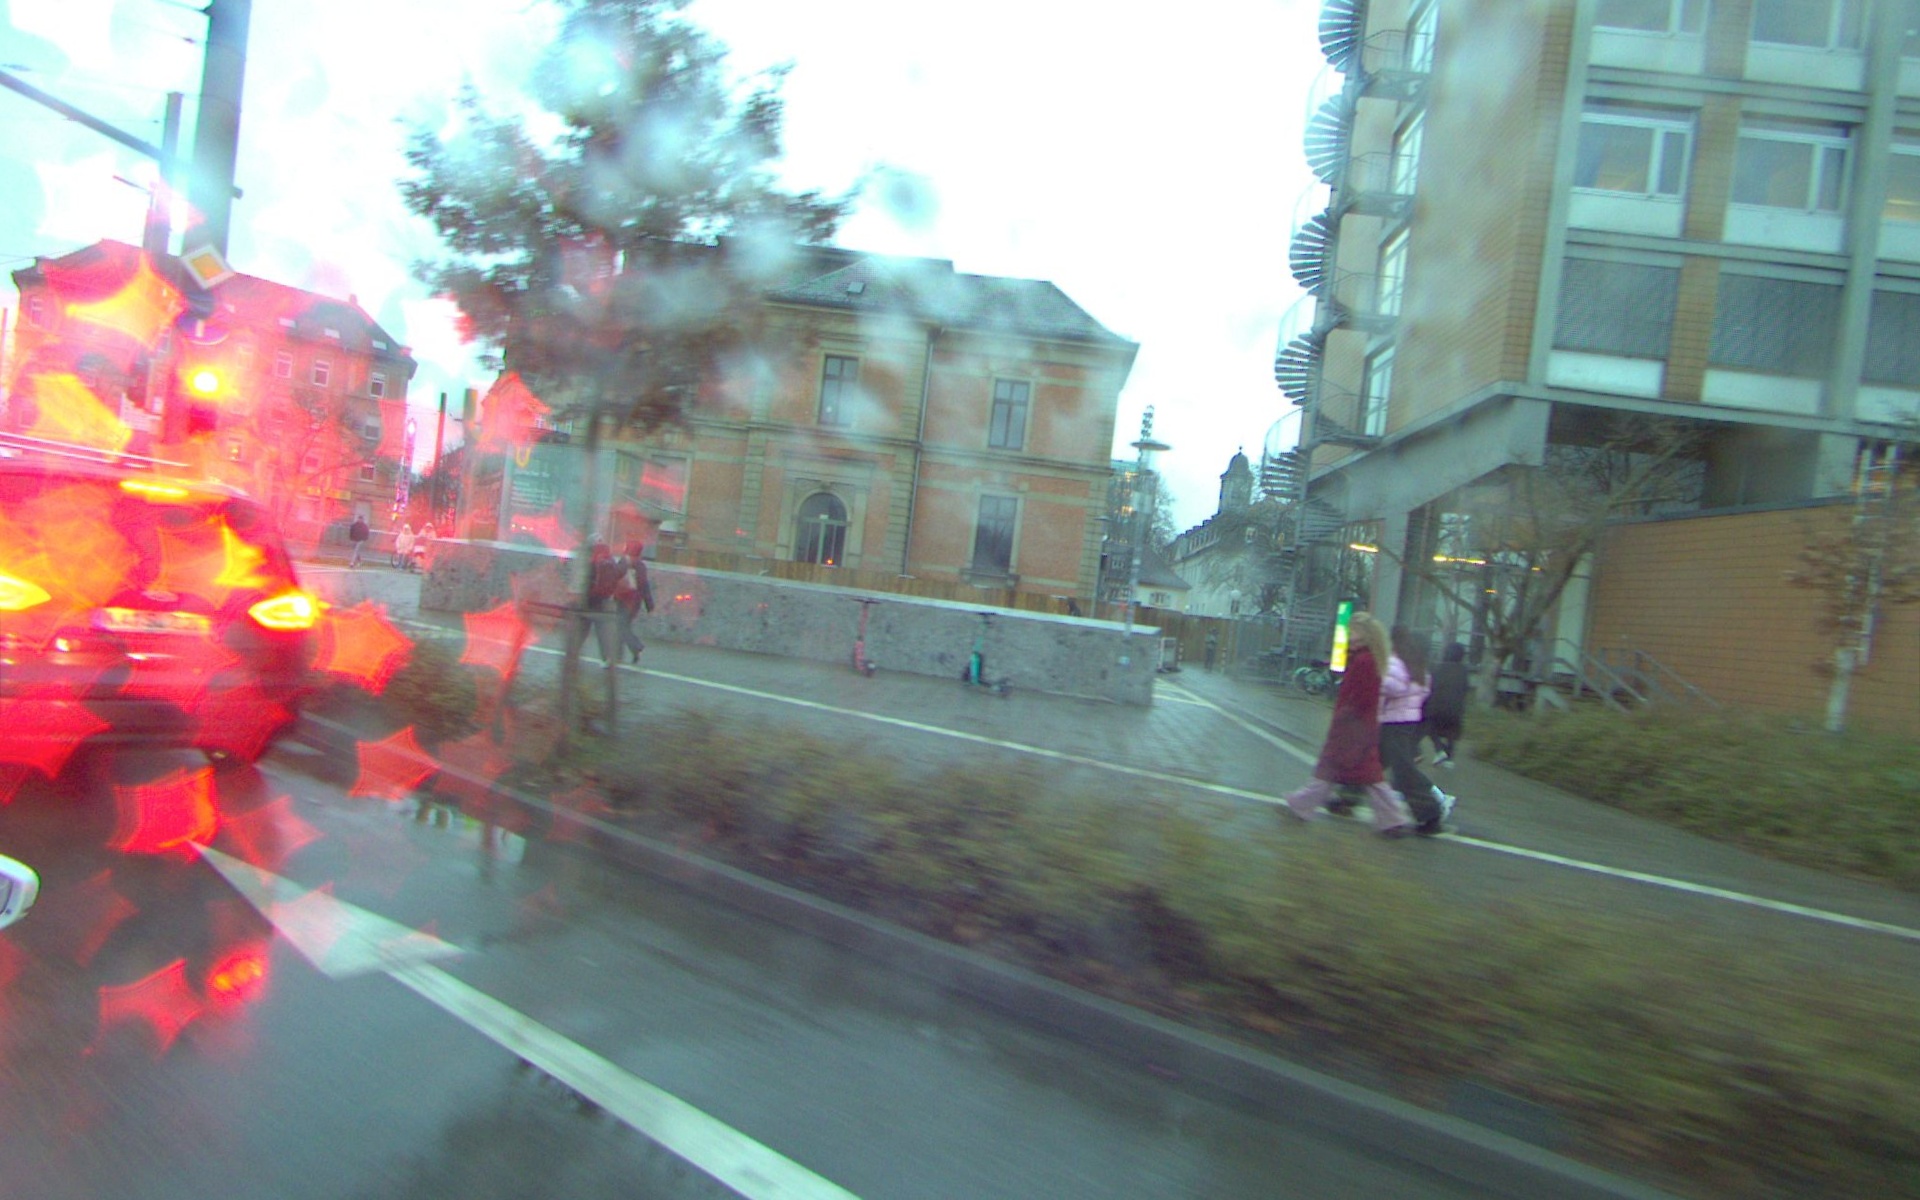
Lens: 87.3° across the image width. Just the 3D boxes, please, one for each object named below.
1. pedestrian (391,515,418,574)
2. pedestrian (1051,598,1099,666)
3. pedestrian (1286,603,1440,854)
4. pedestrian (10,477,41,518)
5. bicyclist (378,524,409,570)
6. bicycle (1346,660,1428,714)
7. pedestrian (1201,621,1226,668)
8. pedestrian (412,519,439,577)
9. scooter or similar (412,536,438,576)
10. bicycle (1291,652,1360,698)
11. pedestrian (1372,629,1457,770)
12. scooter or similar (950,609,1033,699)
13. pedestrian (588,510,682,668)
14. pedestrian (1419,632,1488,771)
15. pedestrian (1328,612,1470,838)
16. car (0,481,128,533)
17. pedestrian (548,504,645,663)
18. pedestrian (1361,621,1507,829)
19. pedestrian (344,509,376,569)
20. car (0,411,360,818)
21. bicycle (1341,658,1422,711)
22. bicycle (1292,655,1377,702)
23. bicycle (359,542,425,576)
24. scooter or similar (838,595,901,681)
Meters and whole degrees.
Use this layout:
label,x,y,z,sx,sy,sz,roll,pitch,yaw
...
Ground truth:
label,x,y,z,sx,sy,sz,roll,pitch,yaw
pedestrian,-19.711,-1.971,35.696,0.670,1.975,0.657,6,1,-28
pedestrian,3.098,0.856,27.171,0.903,1.726,0.799,6,1,-13
pedestrian,3.131,0.969,7.854,0.579,1.805,0.762,4,2,-33
pedestrian,-49.896,-5.456,53.708,0.774,2.039,0.731,7,1,3
bicyclist,-21.255,-1.983,37.769,0.773,1.595,0.688,6,1,-40
bicycle,10.791,2.198,25.446,1.761,1.116,0.401,7,1,7
pedestrian,9.501,1.651,37.675,0.651,1.678,0.789,7,1,10
pedestrian,-19.095,-1.868,35.938,0.670,1.975,0.657,6,1,-29
scooter or similar,-18.770,-1.541,35.291,0.670,1.334,0.820,6,1,-29
bicycle,10.550,2.163,29.047,1.764,1.116,0.390,7,1,-6
pedestrian,6.290,1.356,13.970,0.735,1.814,0.854,7,1,14
scooter or similar,0.471,0.815,15.583,0.509,1.229,1.372,6,1,-31
pedestrian,-4.514,-0.152,13.960,0.802,2.038,0.753,8,2,-33
pedestrian,6.811,1.385,13.899,0.549,1.814,0.584,7,1,14
pedestrian,3.584,1.004,8.232,0.662,1.710,0.606,4,4,-33
car,-41.691,-4.298,46.347,1.712,1.677,4.802,7,0,33
pedestrian,-4.825,-0.220,13.337,0.802,1.954,0.753,8,2,-33
pedestrian,4.245,1.101,9.029,0.713,1.709,0.753,6,1,-34
pedestrian,-20.696,-2.087,34.699,0.669,1.975,0.673,6,1,-21
car,-5.780,-0.103,6.186,4.353,1.822,1.779,8,0,34
bicycle,10.907,2.177,26.075,1.761,1.116,0.442,7,1,7
bicycle,10.401,2.168,28.010,2.021,1.004,0.708,7,1,7
bicycle,-21.336,-1.536,37.782,1.999,0.993,0.688,7,0,-41
scooter or similar,-1.474,0.590,16.169,0.507,1.229,1.375,6,0,-22
